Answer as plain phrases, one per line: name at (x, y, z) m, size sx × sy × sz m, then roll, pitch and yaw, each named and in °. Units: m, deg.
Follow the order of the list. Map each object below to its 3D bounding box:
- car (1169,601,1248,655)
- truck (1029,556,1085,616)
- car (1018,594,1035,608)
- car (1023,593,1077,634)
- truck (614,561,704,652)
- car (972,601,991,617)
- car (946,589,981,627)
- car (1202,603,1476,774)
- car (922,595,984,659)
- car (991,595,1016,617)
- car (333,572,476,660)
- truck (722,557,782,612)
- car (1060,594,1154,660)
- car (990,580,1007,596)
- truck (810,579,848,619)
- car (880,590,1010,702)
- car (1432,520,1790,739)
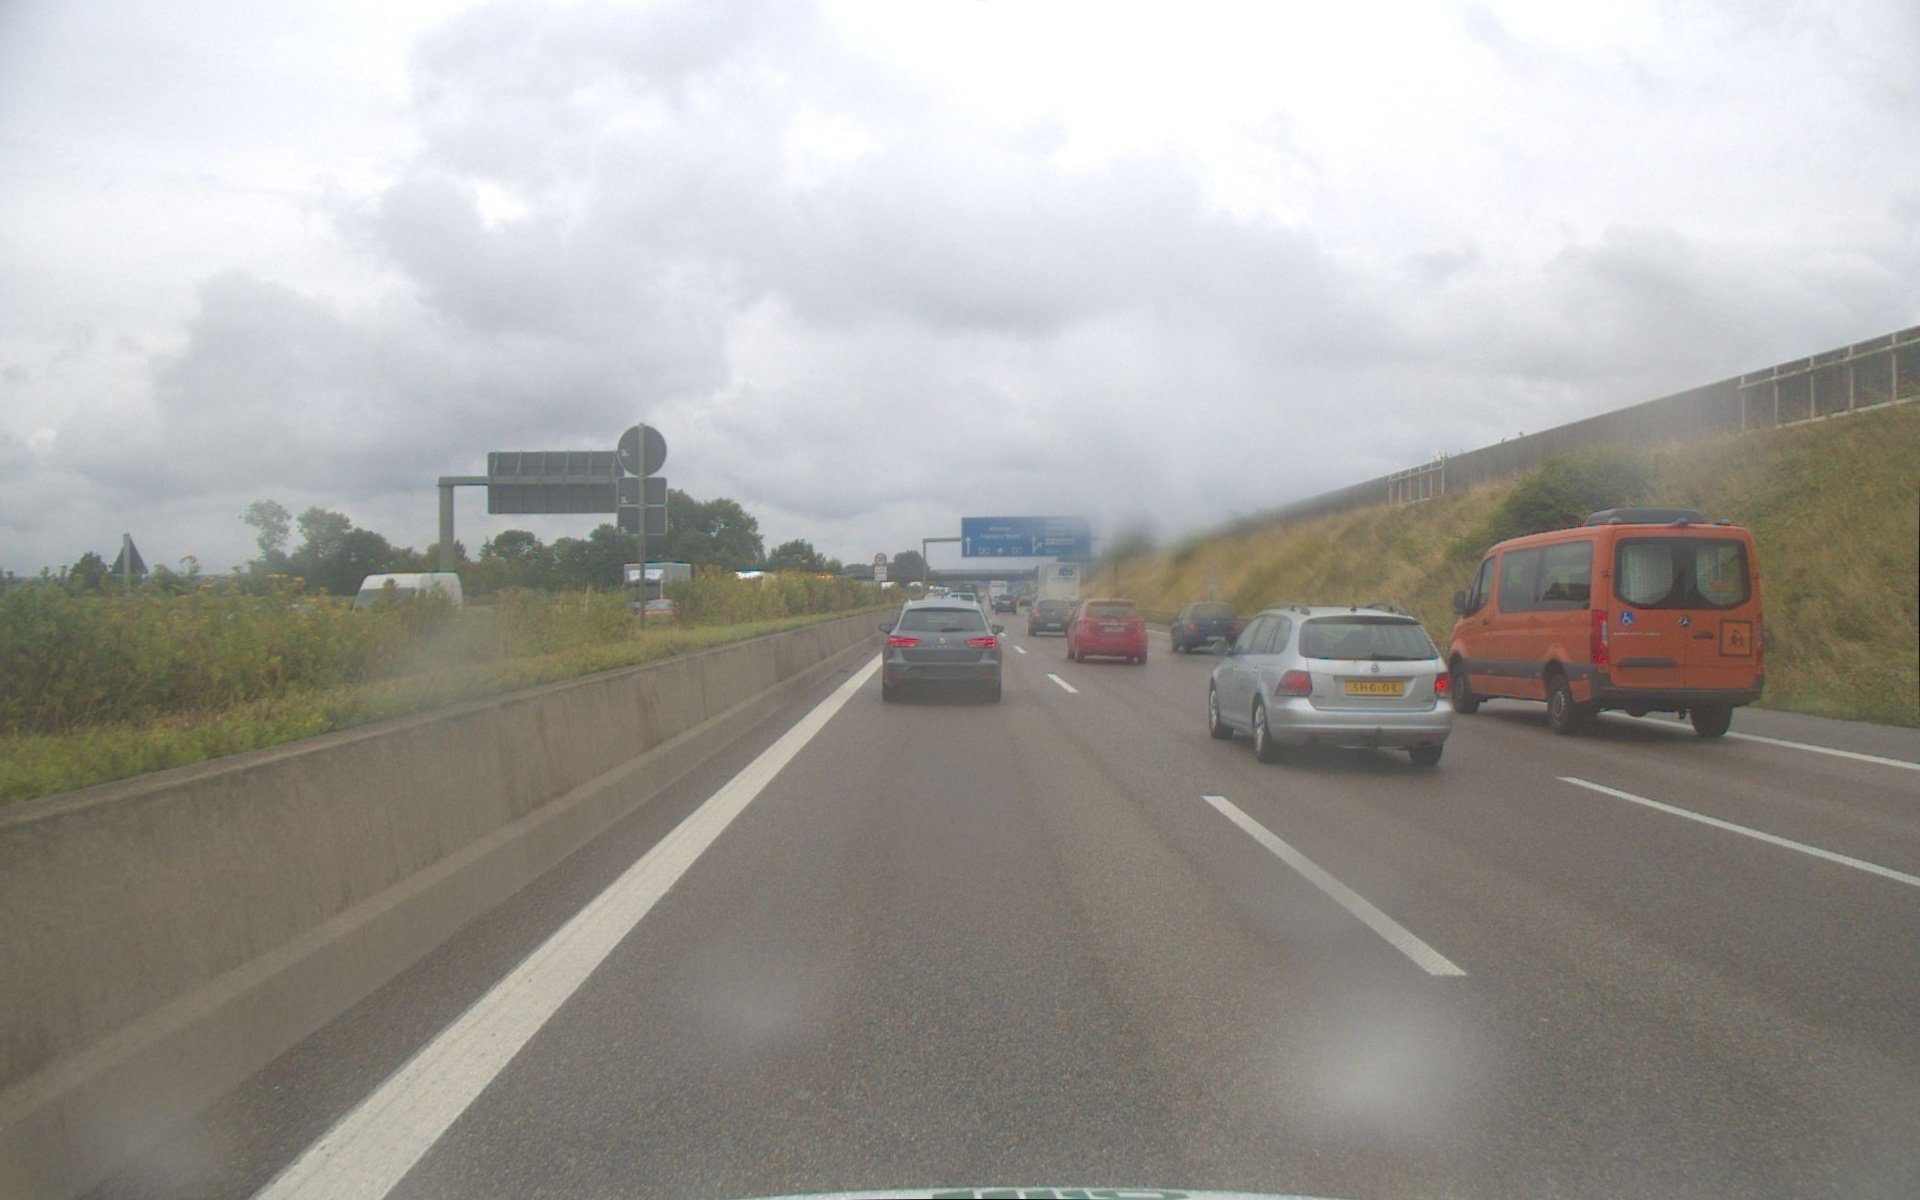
car at (6.966, 0.774, 46.681) m, size 1.667 × 1.426 × 3.875 m, roll 1°, pitch 0°, yaw 0°
truck at (7.649, -0.999, 133.000) m, size 3.216 × 4.370 × 19.031 m, roll 1°, pitch 0°, yaw 0°
car at (8.938, 0.147, 222.155) m, size 1.953 × 1.892 × 4.389 m, roll 0°, pitch 0°, yaw -2°
car at (3.498, 0.508, 64.647) m, size 1.881 × 1.548 × 4.622 m, roll 0°, pitch 0°, yaw 0°
truck at (-16.740, 0.365, 92.612) m, size 3.159 × 4.731 × 9.673 m, roll 1°, pitch 0°, yaw 0°
car at (2.194, 0.888, 168.515) m, size 1.716 × 1.544 × 3.999 m, roll 0°, pitch 0°, yaw -2°
car at (0.142, 0.384, 84.389) m, size 1.670 × 1.828 × 3.854 m, roll -2°, pitch 0°, yaw -1°
car at (3.615, 0.770, 16.591) m, size 1.706 × 1.450 × 4.517 m, roll -1°, pitch 0°, yaw 0°
car at (-0.187, 0.769, 48.559) m, size 1.718 × 1.780 × 4.000 m, roll 1°, pitch 0°, yaw 0°
car at (3.517, 0.481, 132.845) m, size 1.808 × 1.716 × 3.999 m, roll 1°, pitch 0°, yaw -1°
car at (-17.506, 0.494, 52.599) m, size 2.199 × 2.574 × 6.905 m, roll 1°, pitch 0°, yaw 0°
truck at (-16.278, -1.144, 130.211) m, size 3.118 × 4.036 × 10.812 m, roll 1°, pitch 0°, yaw 1°
car at (3.478, 0.601, 39.879) m, size 1.852 × 1.472 × 4.684 m, roll 0°, pitch 0°, yaw 0°
car at (5.023, -1.522, 217.177) m, size 1.953 × 2.049 × 3.998 m, roll -1°, pitch 0°, yaw -2°
truck at (-15.414, -0.100, 195.004) m, size 3.342 × 4.440 × 10.991 m, roll 1°, pitch 0°, yaw 1°
car at (-0.224, 0.633, 24.429) m, size 1.732 × 1.493 × 3.999 m, roll 1°, pitch 0°, yaw -1°
car at (7.896, 0.292, 20.901) m, size 2.043 × 2.355 × 6.180 m, roll 0°, pitch 0°, yaw -1°
